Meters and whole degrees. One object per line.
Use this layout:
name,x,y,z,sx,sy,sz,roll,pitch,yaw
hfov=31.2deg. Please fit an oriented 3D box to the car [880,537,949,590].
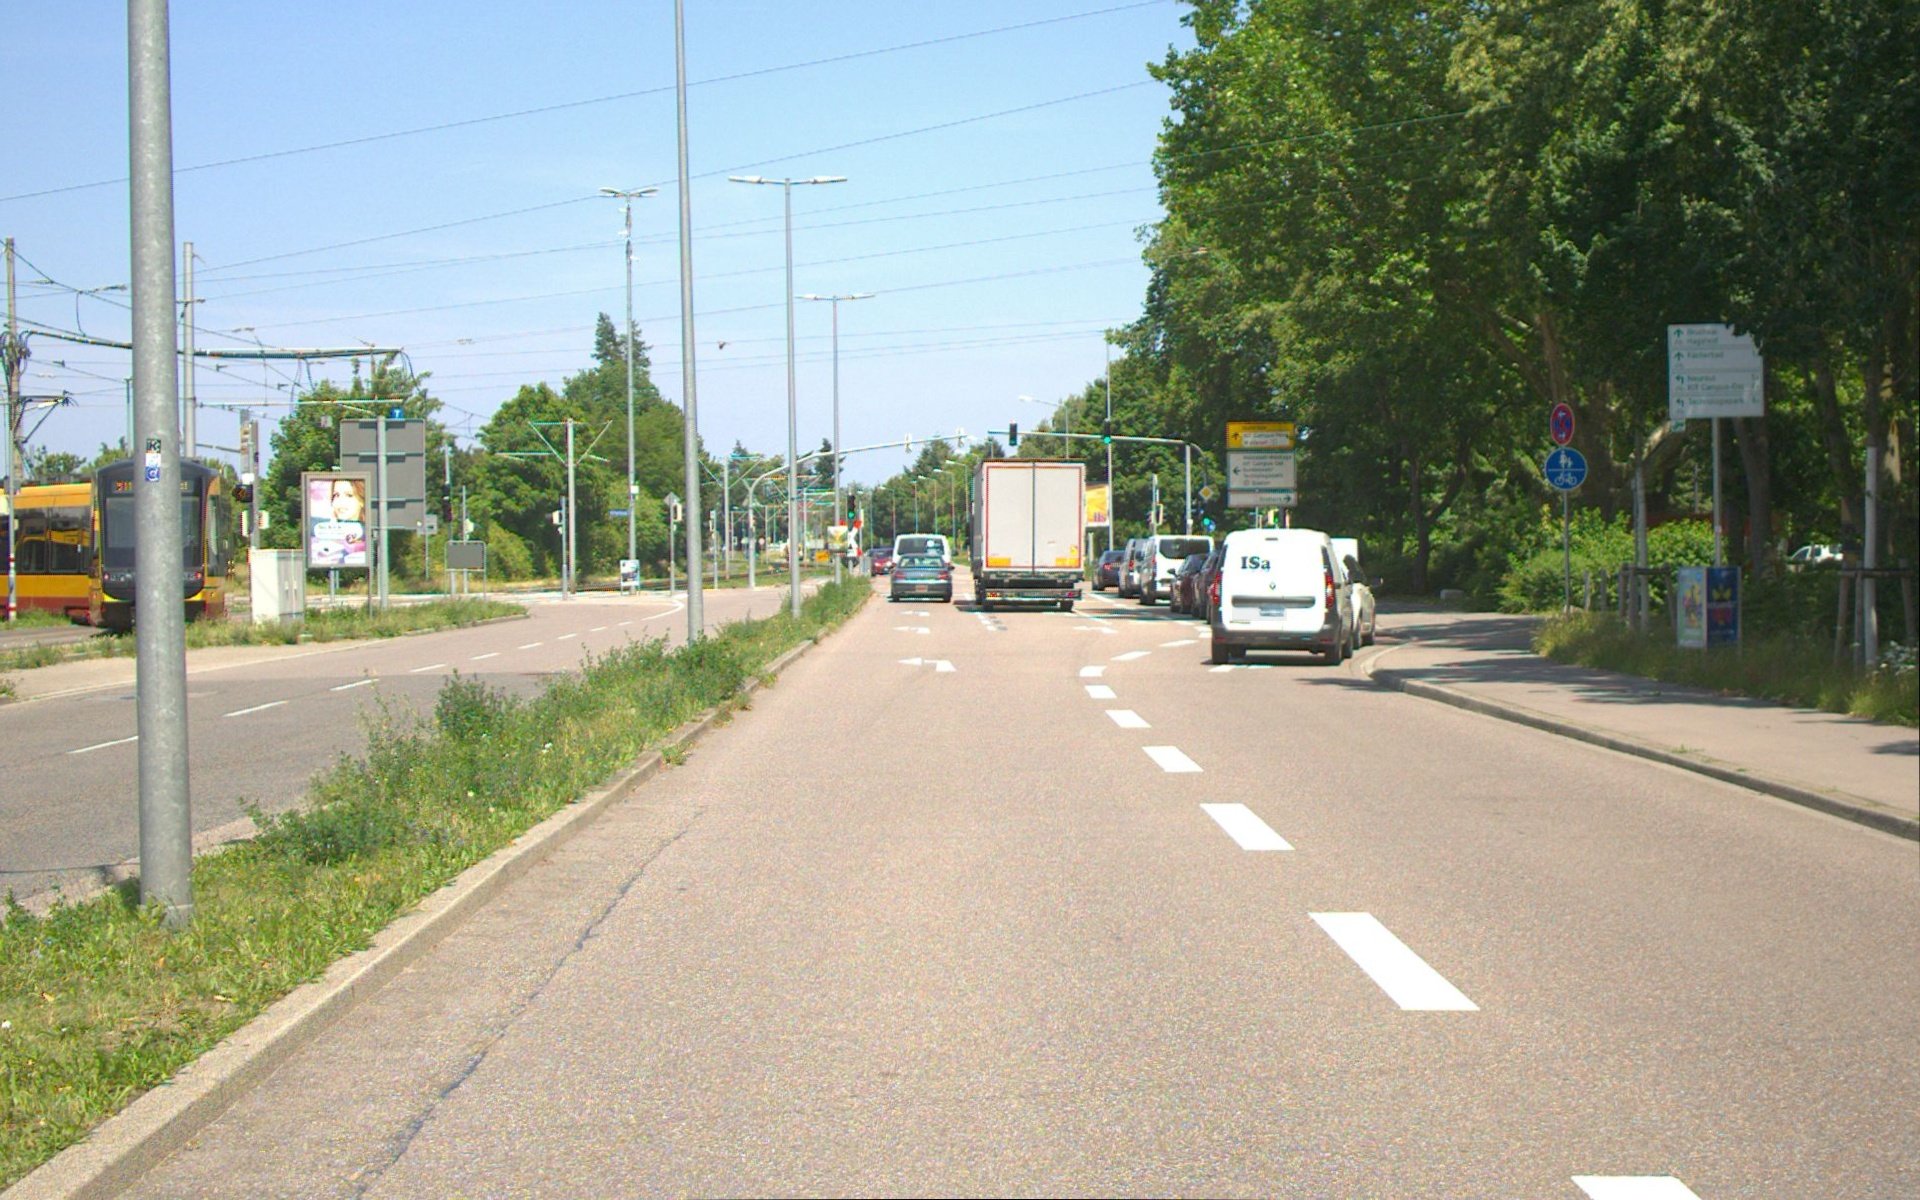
car,-1.331,-1.028,99.341,1.892,1.367,4.430,2,-1,-1

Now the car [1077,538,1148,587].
car,4.745,-1.185,107.252,1.993,1.432,4.251,0,2,0

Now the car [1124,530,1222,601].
car,4.817,-0.803,78.145,1.858,1.544,3.887,1,1,-2

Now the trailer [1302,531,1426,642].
trailer,6.235,-0.232,53.286,1.468,1.663,2.856,1,1,-2

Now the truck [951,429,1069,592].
truck,1.340,-2.529,96.518,2.827,4.329,8.285,1,2,-2

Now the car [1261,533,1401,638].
car,6.099,-0.276,56.946,1.699,1.648,4.399,1,1,-2

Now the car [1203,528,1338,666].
car,4.195,-0.081,46.455,1.710,1.741,4.426,1,1,5

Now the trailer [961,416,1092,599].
trailer,1.626,-2.328,88.019,2.827,4.406,8.750,1,1,-2

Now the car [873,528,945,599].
car,-1.611,-1.150,106.708,1.993,2.104,4.749,0,2,-4

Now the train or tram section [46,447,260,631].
train or tram section,-16.956,-1.288,71.476,3.035,3.454,13.297,0,1,-19

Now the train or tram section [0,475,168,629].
train or tram section,-22.089,-1.202,82.284,3.036,3.454,10.224,0,1,-31

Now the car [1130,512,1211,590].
car,5.907,-1.385,96.717,1.890,2.114,3.887,1,1,-2

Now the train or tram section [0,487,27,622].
train or tram section,-30.425,-1.295,90.301,12.728,3.454,3.042,1,1,27
